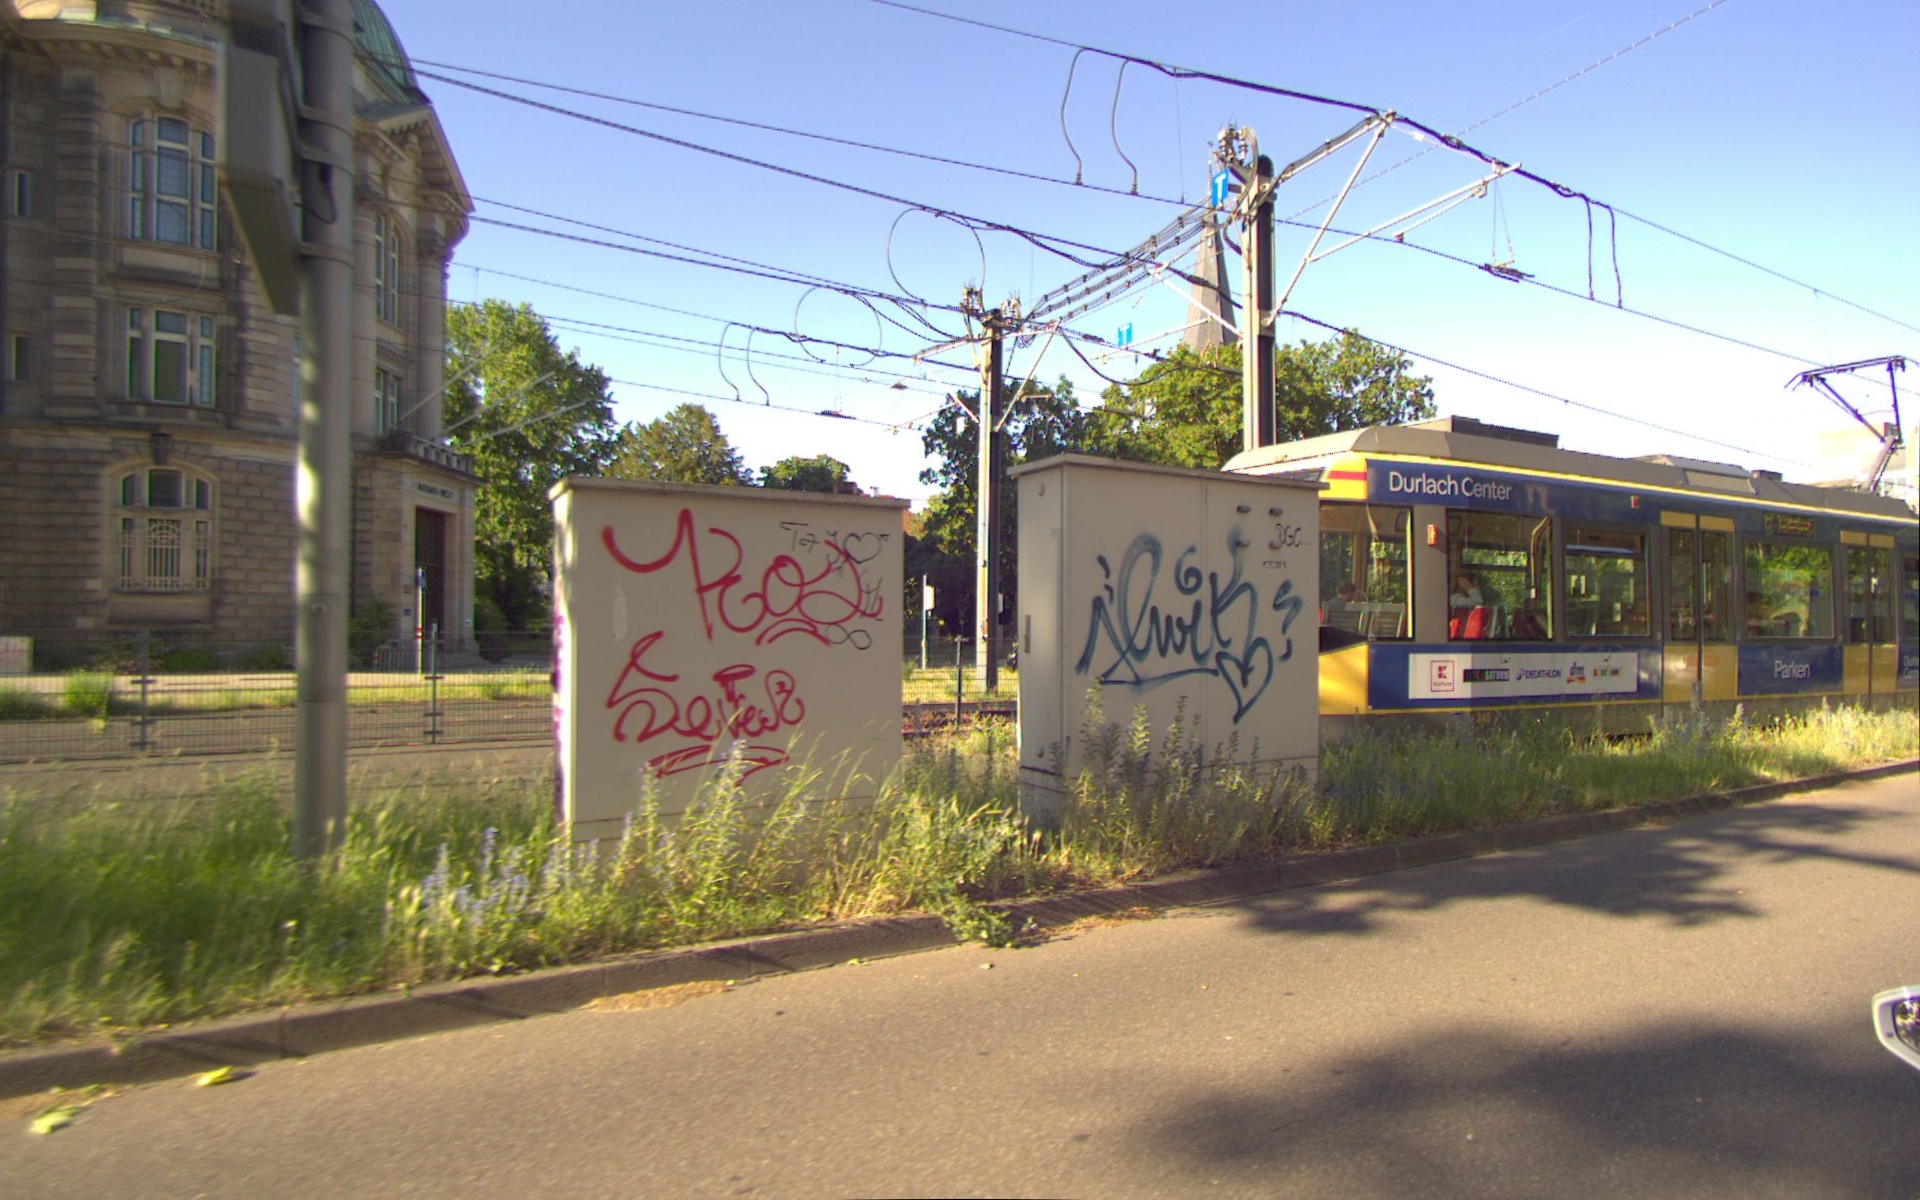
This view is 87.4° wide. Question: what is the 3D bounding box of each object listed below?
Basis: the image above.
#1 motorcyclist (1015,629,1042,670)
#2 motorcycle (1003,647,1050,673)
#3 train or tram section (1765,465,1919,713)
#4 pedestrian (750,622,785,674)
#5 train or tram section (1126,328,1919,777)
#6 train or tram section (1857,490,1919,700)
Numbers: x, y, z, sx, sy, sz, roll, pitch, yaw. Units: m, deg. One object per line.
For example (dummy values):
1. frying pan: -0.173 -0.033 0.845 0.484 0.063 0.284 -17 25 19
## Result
1. motorcyclist: 2.173 1.576 31.852 0.682 1.274 0.512 1 0 -26
2. motorcycle: 2.117 1.883 31.799 1.503 0.794 0.367 2 0 -28
3. train or tram section: 16.684 -0.139 17.435 3.818 3.949 2.942 2 0 -28
4. pedestrian: -6.856 1.710 35.786 0.747 1.796 0.921 2 0 38
5. train or tram section: 8.795 -0.240 13.219 14.092 3.863 2.917 2 0 -28
6. train or tram section: 22.974 0.045 21.108 10.675 3.949 2.938 2 0 -30
